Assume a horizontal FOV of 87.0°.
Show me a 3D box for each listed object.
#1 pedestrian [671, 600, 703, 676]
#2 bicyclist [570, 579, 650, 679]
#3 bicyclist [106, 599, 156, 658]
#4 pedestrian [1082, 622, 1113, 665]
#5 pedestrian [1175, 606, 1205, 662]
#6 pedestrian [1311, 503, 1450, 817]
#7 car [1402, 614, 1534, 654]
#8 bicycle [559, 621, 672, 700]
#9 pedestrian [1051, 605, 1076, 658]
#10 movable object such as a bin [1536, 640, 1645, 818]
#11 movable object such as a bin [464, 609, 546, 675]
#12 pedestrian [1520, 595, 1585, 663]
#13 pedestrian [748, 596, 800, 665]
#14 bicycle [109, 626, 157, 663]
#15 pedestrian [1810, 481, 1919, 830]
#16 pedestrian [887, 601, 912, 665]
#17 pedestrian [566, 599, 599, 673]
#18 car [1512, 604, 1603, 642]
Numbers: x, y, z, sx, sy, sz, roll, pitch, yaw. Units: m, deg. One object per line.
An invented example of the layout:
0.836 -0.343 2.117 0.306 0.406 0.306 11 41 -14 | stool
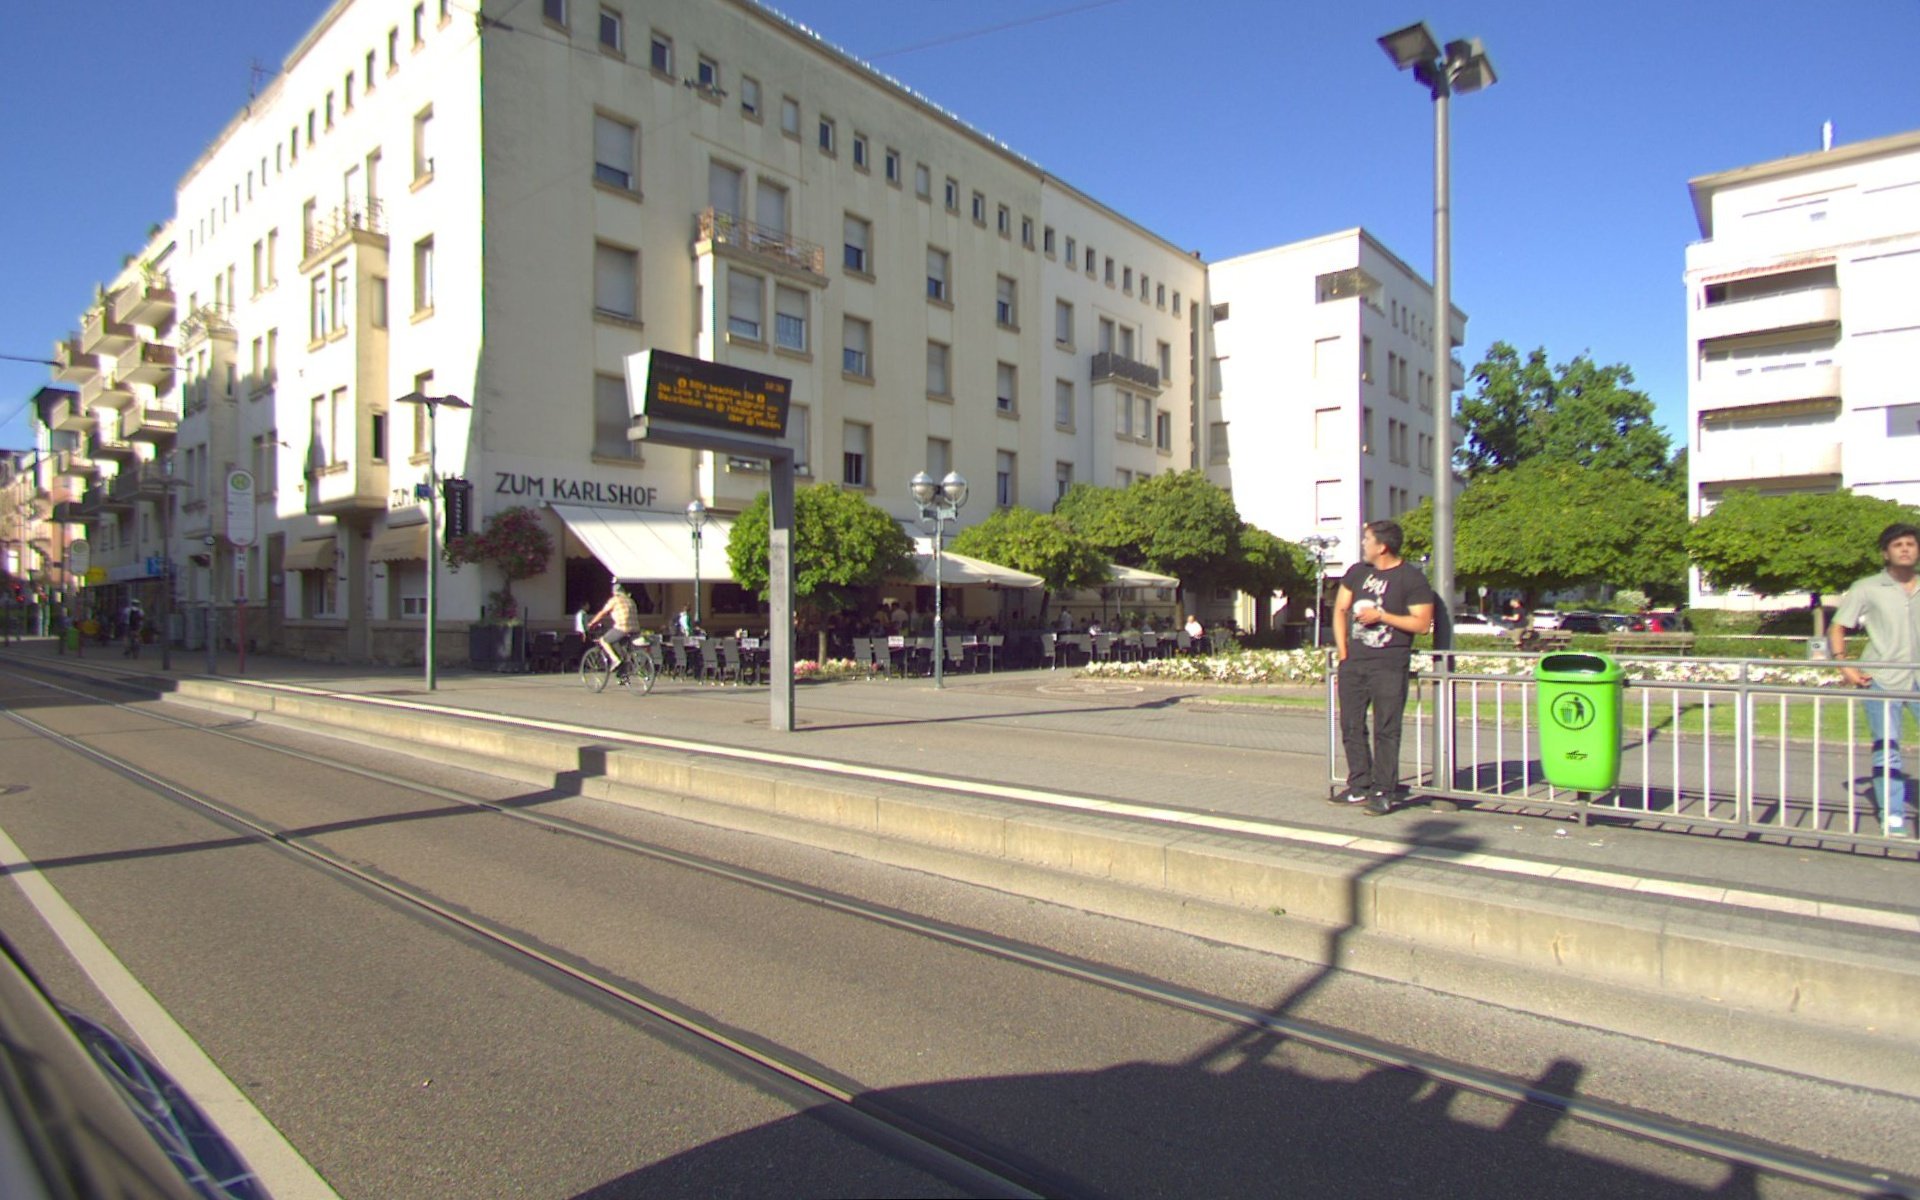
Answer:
-6.107 0.852 22.635 0.662 1.657 0.678 -1 -4 -15 | pedestrian
-5.380 0.426 15.558 0.876 1.466 0.819 0 0 40 | bicyclist
-26.362 0.898 32.174 1.093 1.807 0.994 -1 -1 36 | bicyclist
4.164 1.316 30.728 0.672 1.280 0.636 -4 -5 36 | pedestrian
7.301 1.083 32.167 0.710 1.750 0.673 -2 -4 1 | pedestrian
2.490 0.342 5.986 0.607 1.731 0.542 -1 -3 43 | pedestrian
17.497 1.143 34.913 3.713 1.310 1.973 -1 -1 41 | car
-5.294 0.890 15.485 1.975 1.121 0.721 -1 0 40 | bicycle
3.476 1.057 33.972 0.677 1.750 0.671 -3 -4 14 | pedestrian
3.294 0.650 5.289 0.416 0.866 0.332 -1 -1 44 | movable object such as a bin
-10.117 0.911 22.509 1.127 1.410 1.302 -1 -1 40 | movable object such as a bin
16.306 0.784 27.870 1.063 1.801 1.180 0 -1 -34 | pedestrian
-4.628 0.752 25.151 0.755 1.657 1.054 -1 -1 36 | pedestrian
-26.359 1.415 32.244 2.032 1.134 0.705 -1 -1 36 | bicycle
5.103 0.295 5.435 0.769 1.788 0.608 -1 -4 43 | pedestrian
-1.779 0.966 29.738 0.641 1.837 0.576 0 -1 5 | pedestrian
-8.635 0.827 23.135 0.662 1.657 0.753 0 -4 -22 | pedestrian
24.047 0.921 40.748 2.932 1.497 1.399 -1 -1 41 | car
